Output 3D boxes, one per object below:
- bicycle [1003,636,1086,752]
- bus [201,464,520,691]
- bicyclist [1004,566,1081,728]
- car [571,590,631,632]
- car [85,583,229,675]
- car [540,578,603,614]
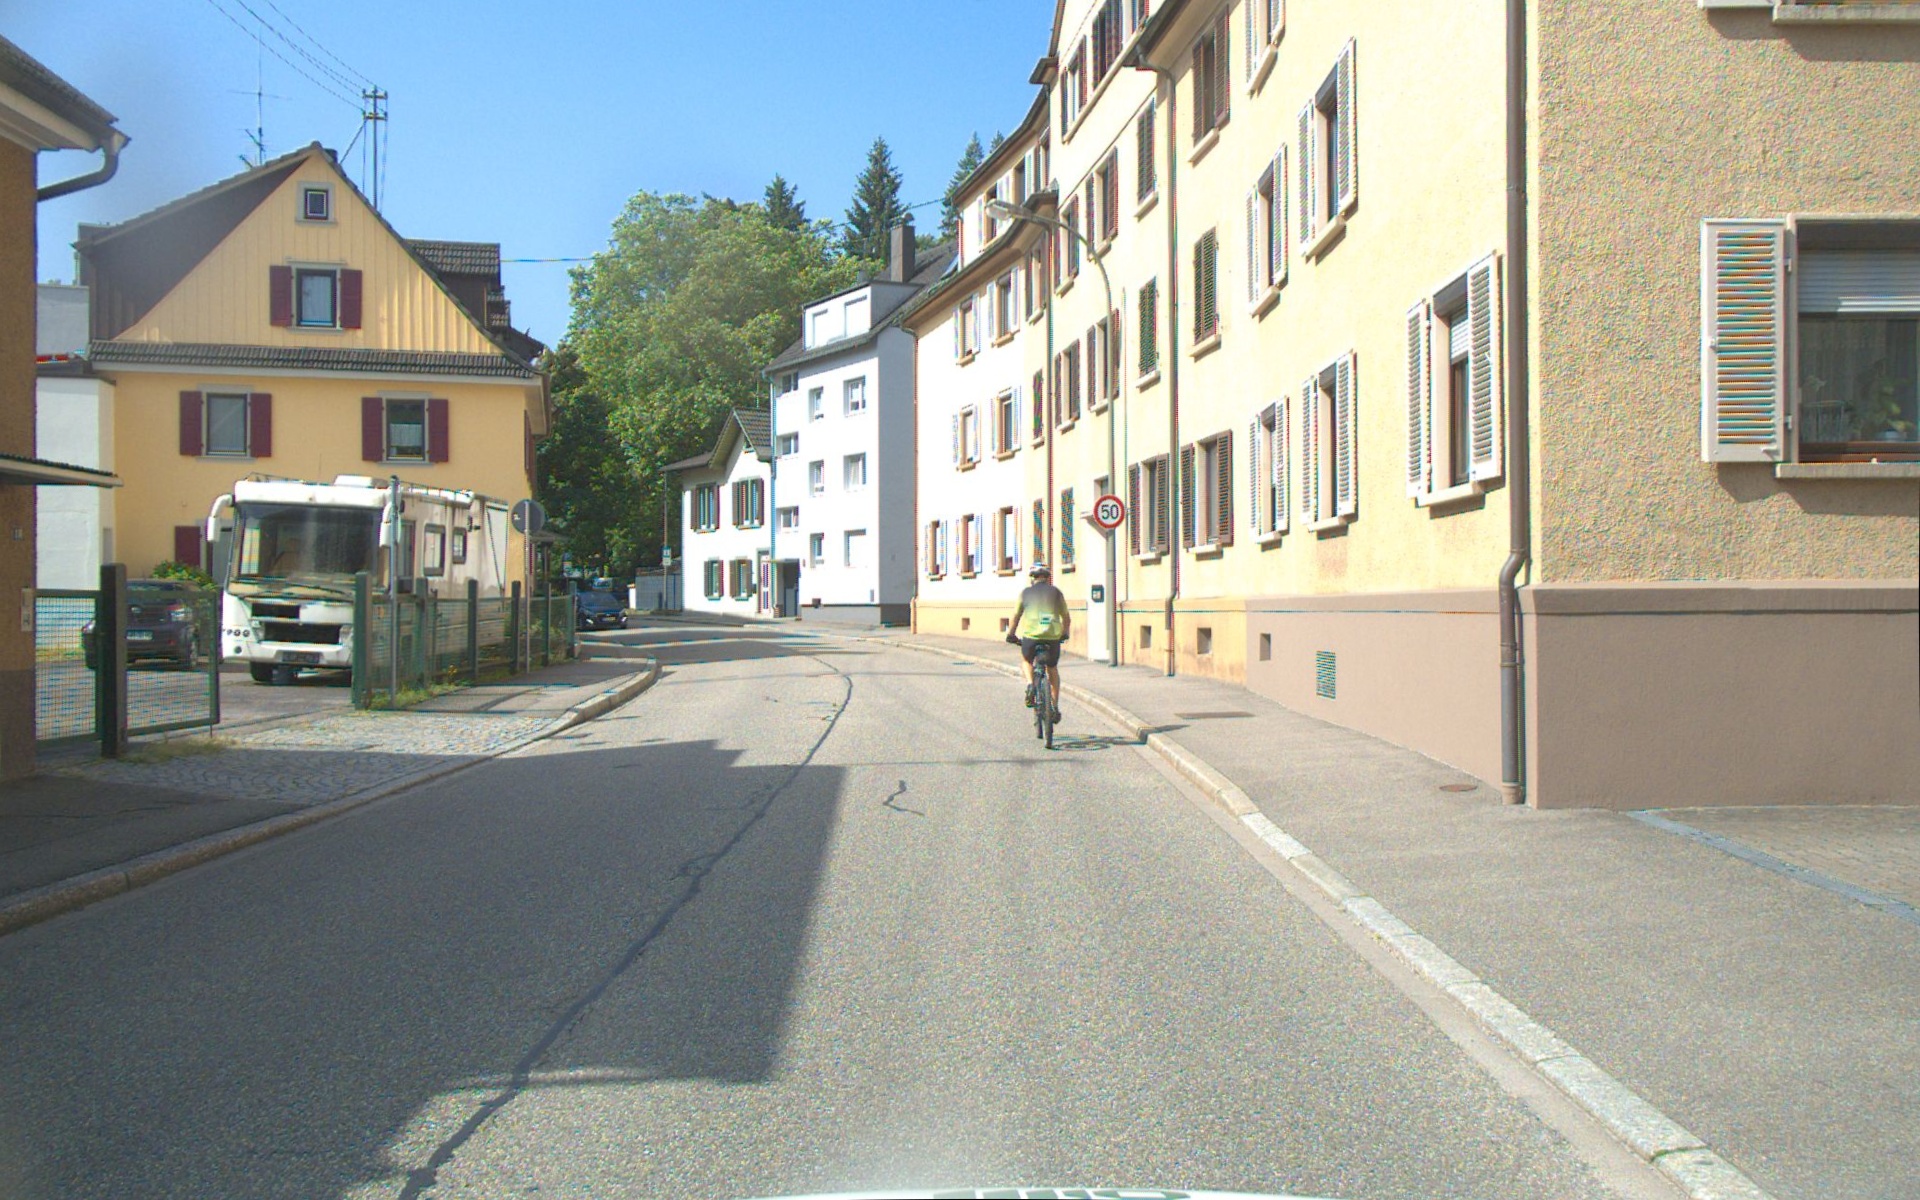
[{"bbox_3d":[0.826,0.913,16.461,0.684,1.053,1.470,0,0,-3],"label":"bicycle"},{"bbox_3d":[-9.999,-0.348,28.817,2.764,3.284,9.029,1,0,-4],"label":"bus"},{"bbox_3d":[0.808,0.457,16.414,0.672,1.558,0.715,-1,0,-3],"label":"bicyclist"},{"bbox_3d":[-13.939,0.411,64.038,1.722,1.478,4.005,-4,1,-19],"label":"car"},{"bbox_3d":[-13.690,0.468,28.392,1.739,1.457,3.977,1,0,-19],"label":"car"},{"bbox_3d":[-21.497,-0.245,91.405,1.812,1.822,3.940,-2,2,-41],"label":"car"}]
